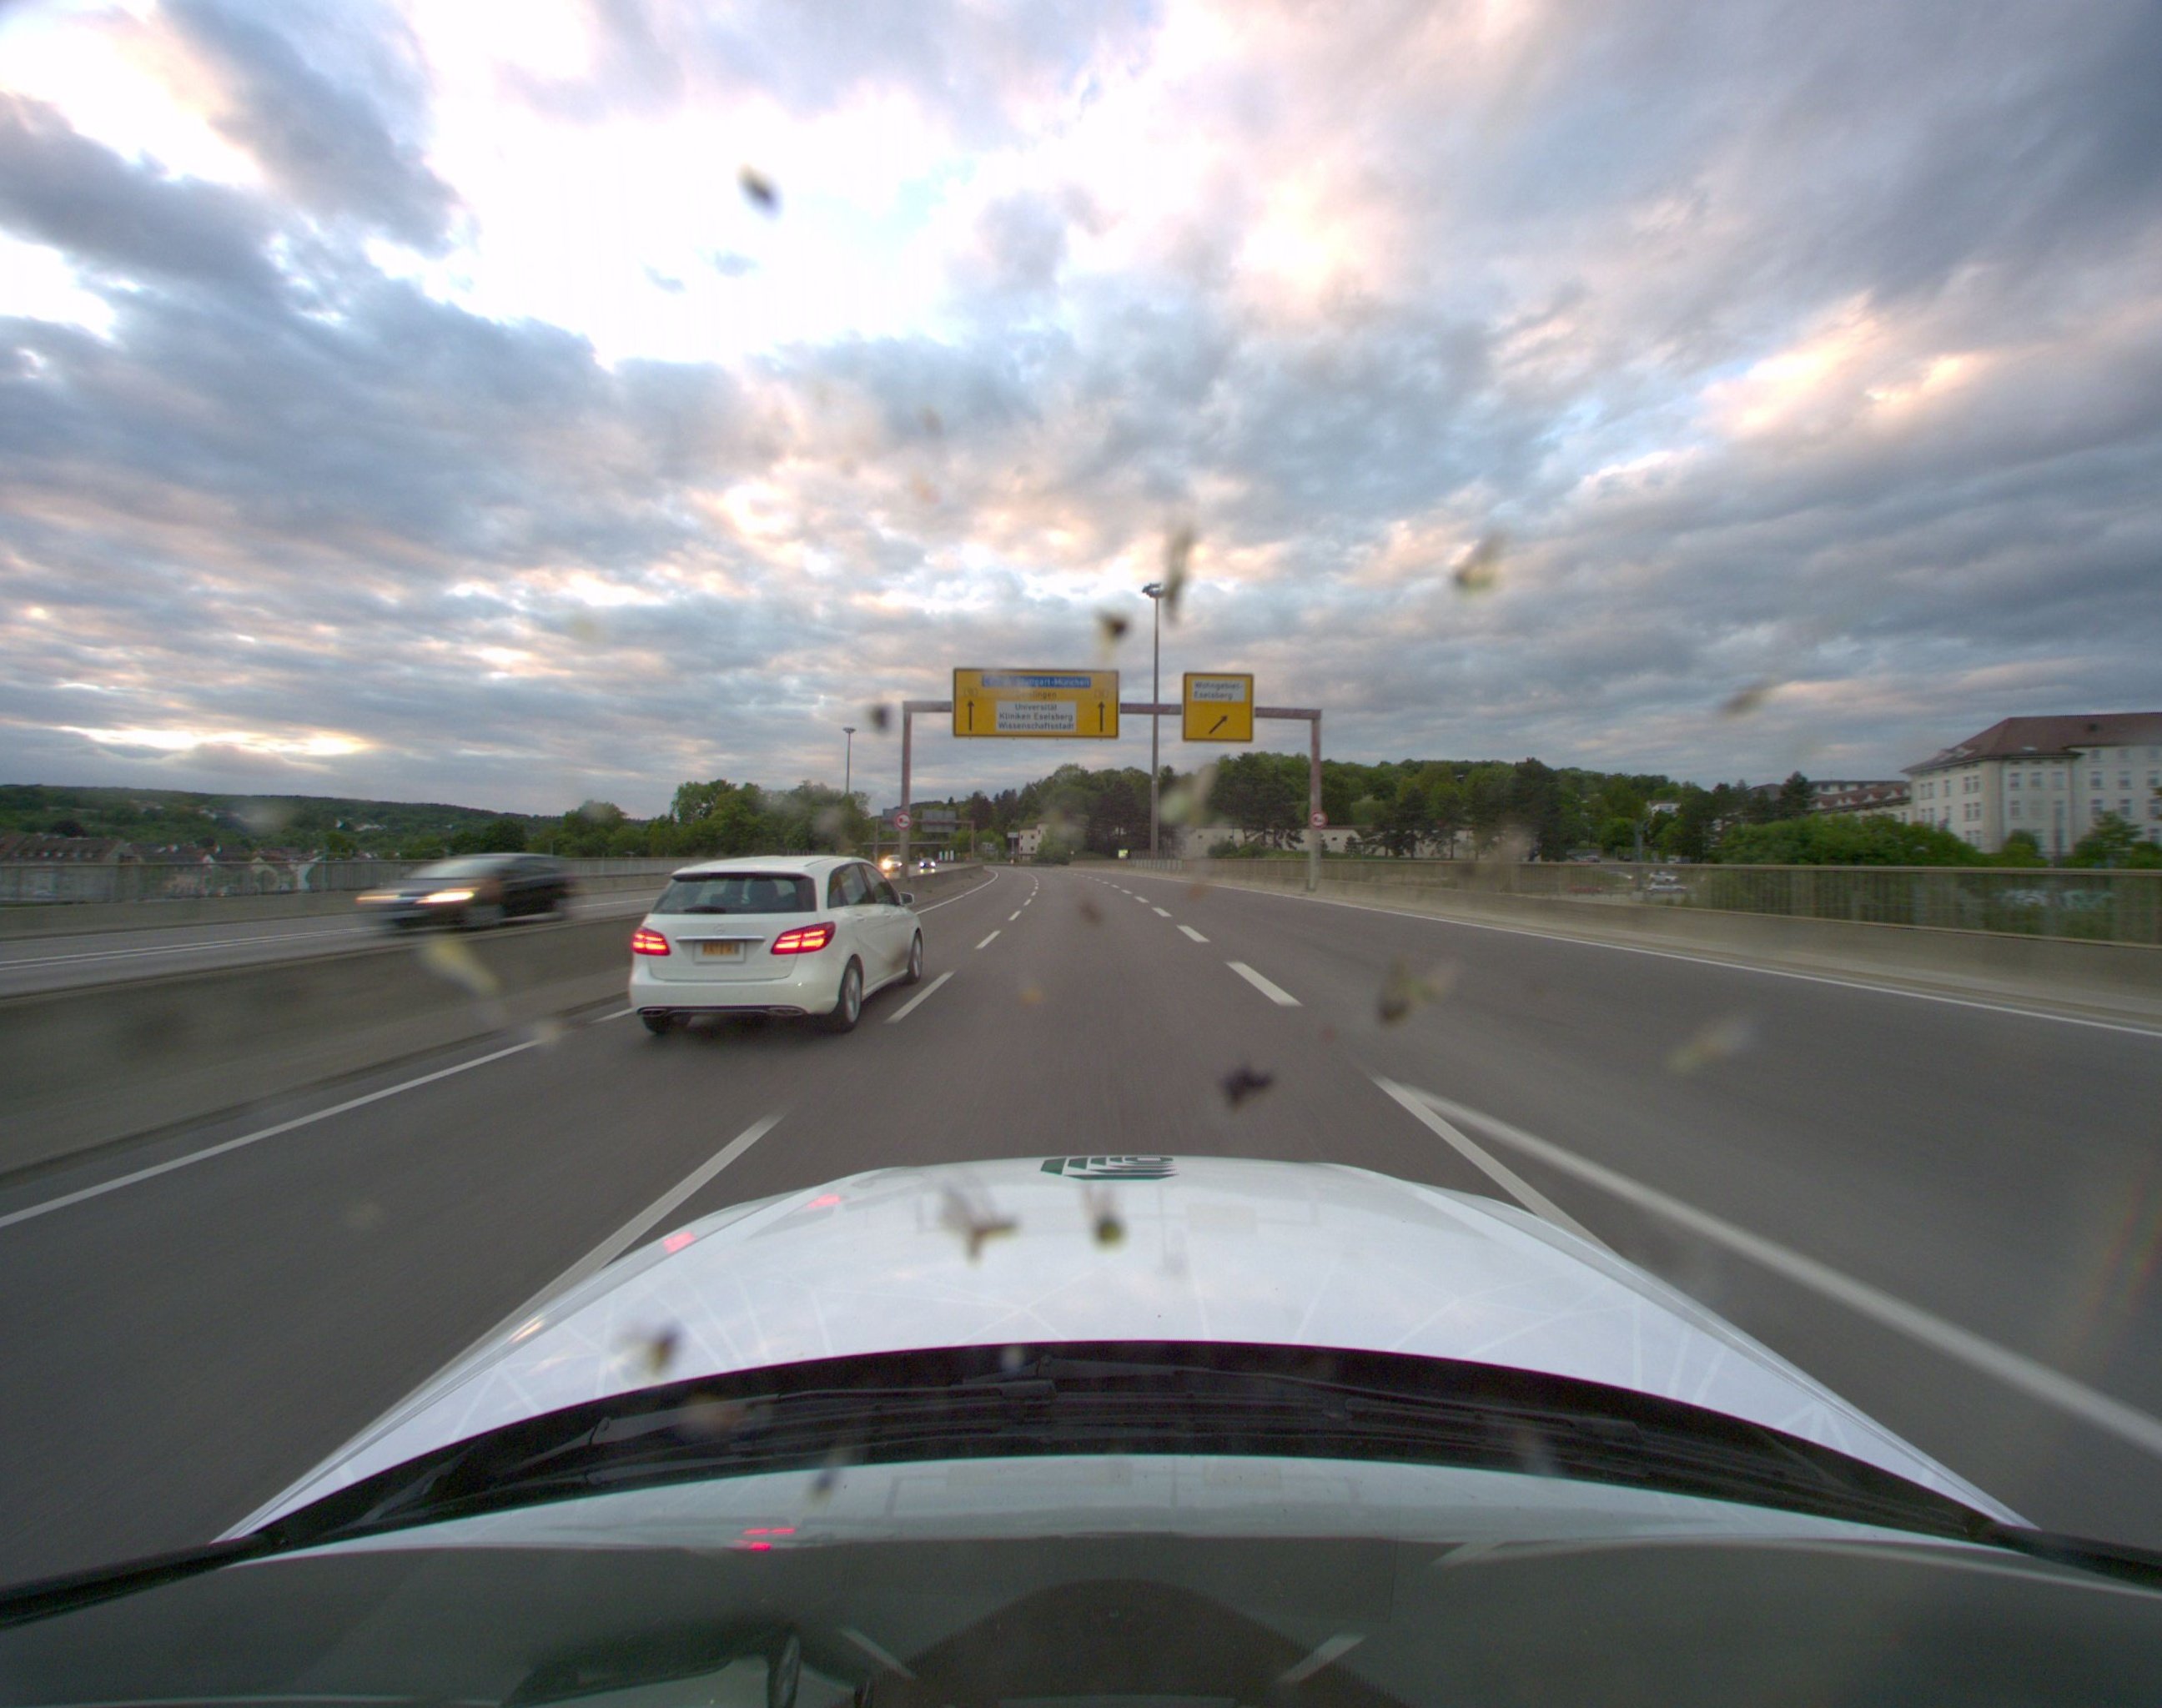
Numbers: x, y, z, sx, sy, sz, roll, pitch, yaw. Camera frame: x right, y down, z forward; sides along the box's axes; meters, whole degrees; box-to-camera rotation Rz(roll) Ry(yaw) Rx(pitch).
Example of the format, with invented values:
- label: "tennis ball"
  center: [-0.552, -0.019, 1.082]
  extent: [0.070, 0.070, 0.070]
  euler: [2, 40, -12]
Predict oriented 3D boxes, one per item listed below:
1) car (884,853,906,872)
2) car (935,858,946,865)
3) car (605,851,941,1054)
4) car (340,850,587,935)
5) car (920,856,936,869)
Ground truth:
- label: "car"
  center: [-17.302, 0.819, 75.877]
  extent: [1.666, 1.732, 3.990]
  euler: [0, 0, -7]
- label: "car"
  center: [-38.936, 2.097, 225.668]
  extent: [2.004, 1.838, 3.965]
  euler: [1, -2, -27]
- label: "car"
  center: [-2.783, 0.774, 8.659]
  extent: [1.685, 1.537, 4.783]
  euler: [-1, -1, 1]
- label: "car"
  center: [-11.976, 0.664, 16.221]
  extent: [1.725, 1.476, 4.222]
  euler: [0, 0, -1]
- label: "car"
  center: [-19.770, 1.119, 105.326]
  extent: [1.666, 1.643, 3.990]
  euler: [0, 0, -7]
